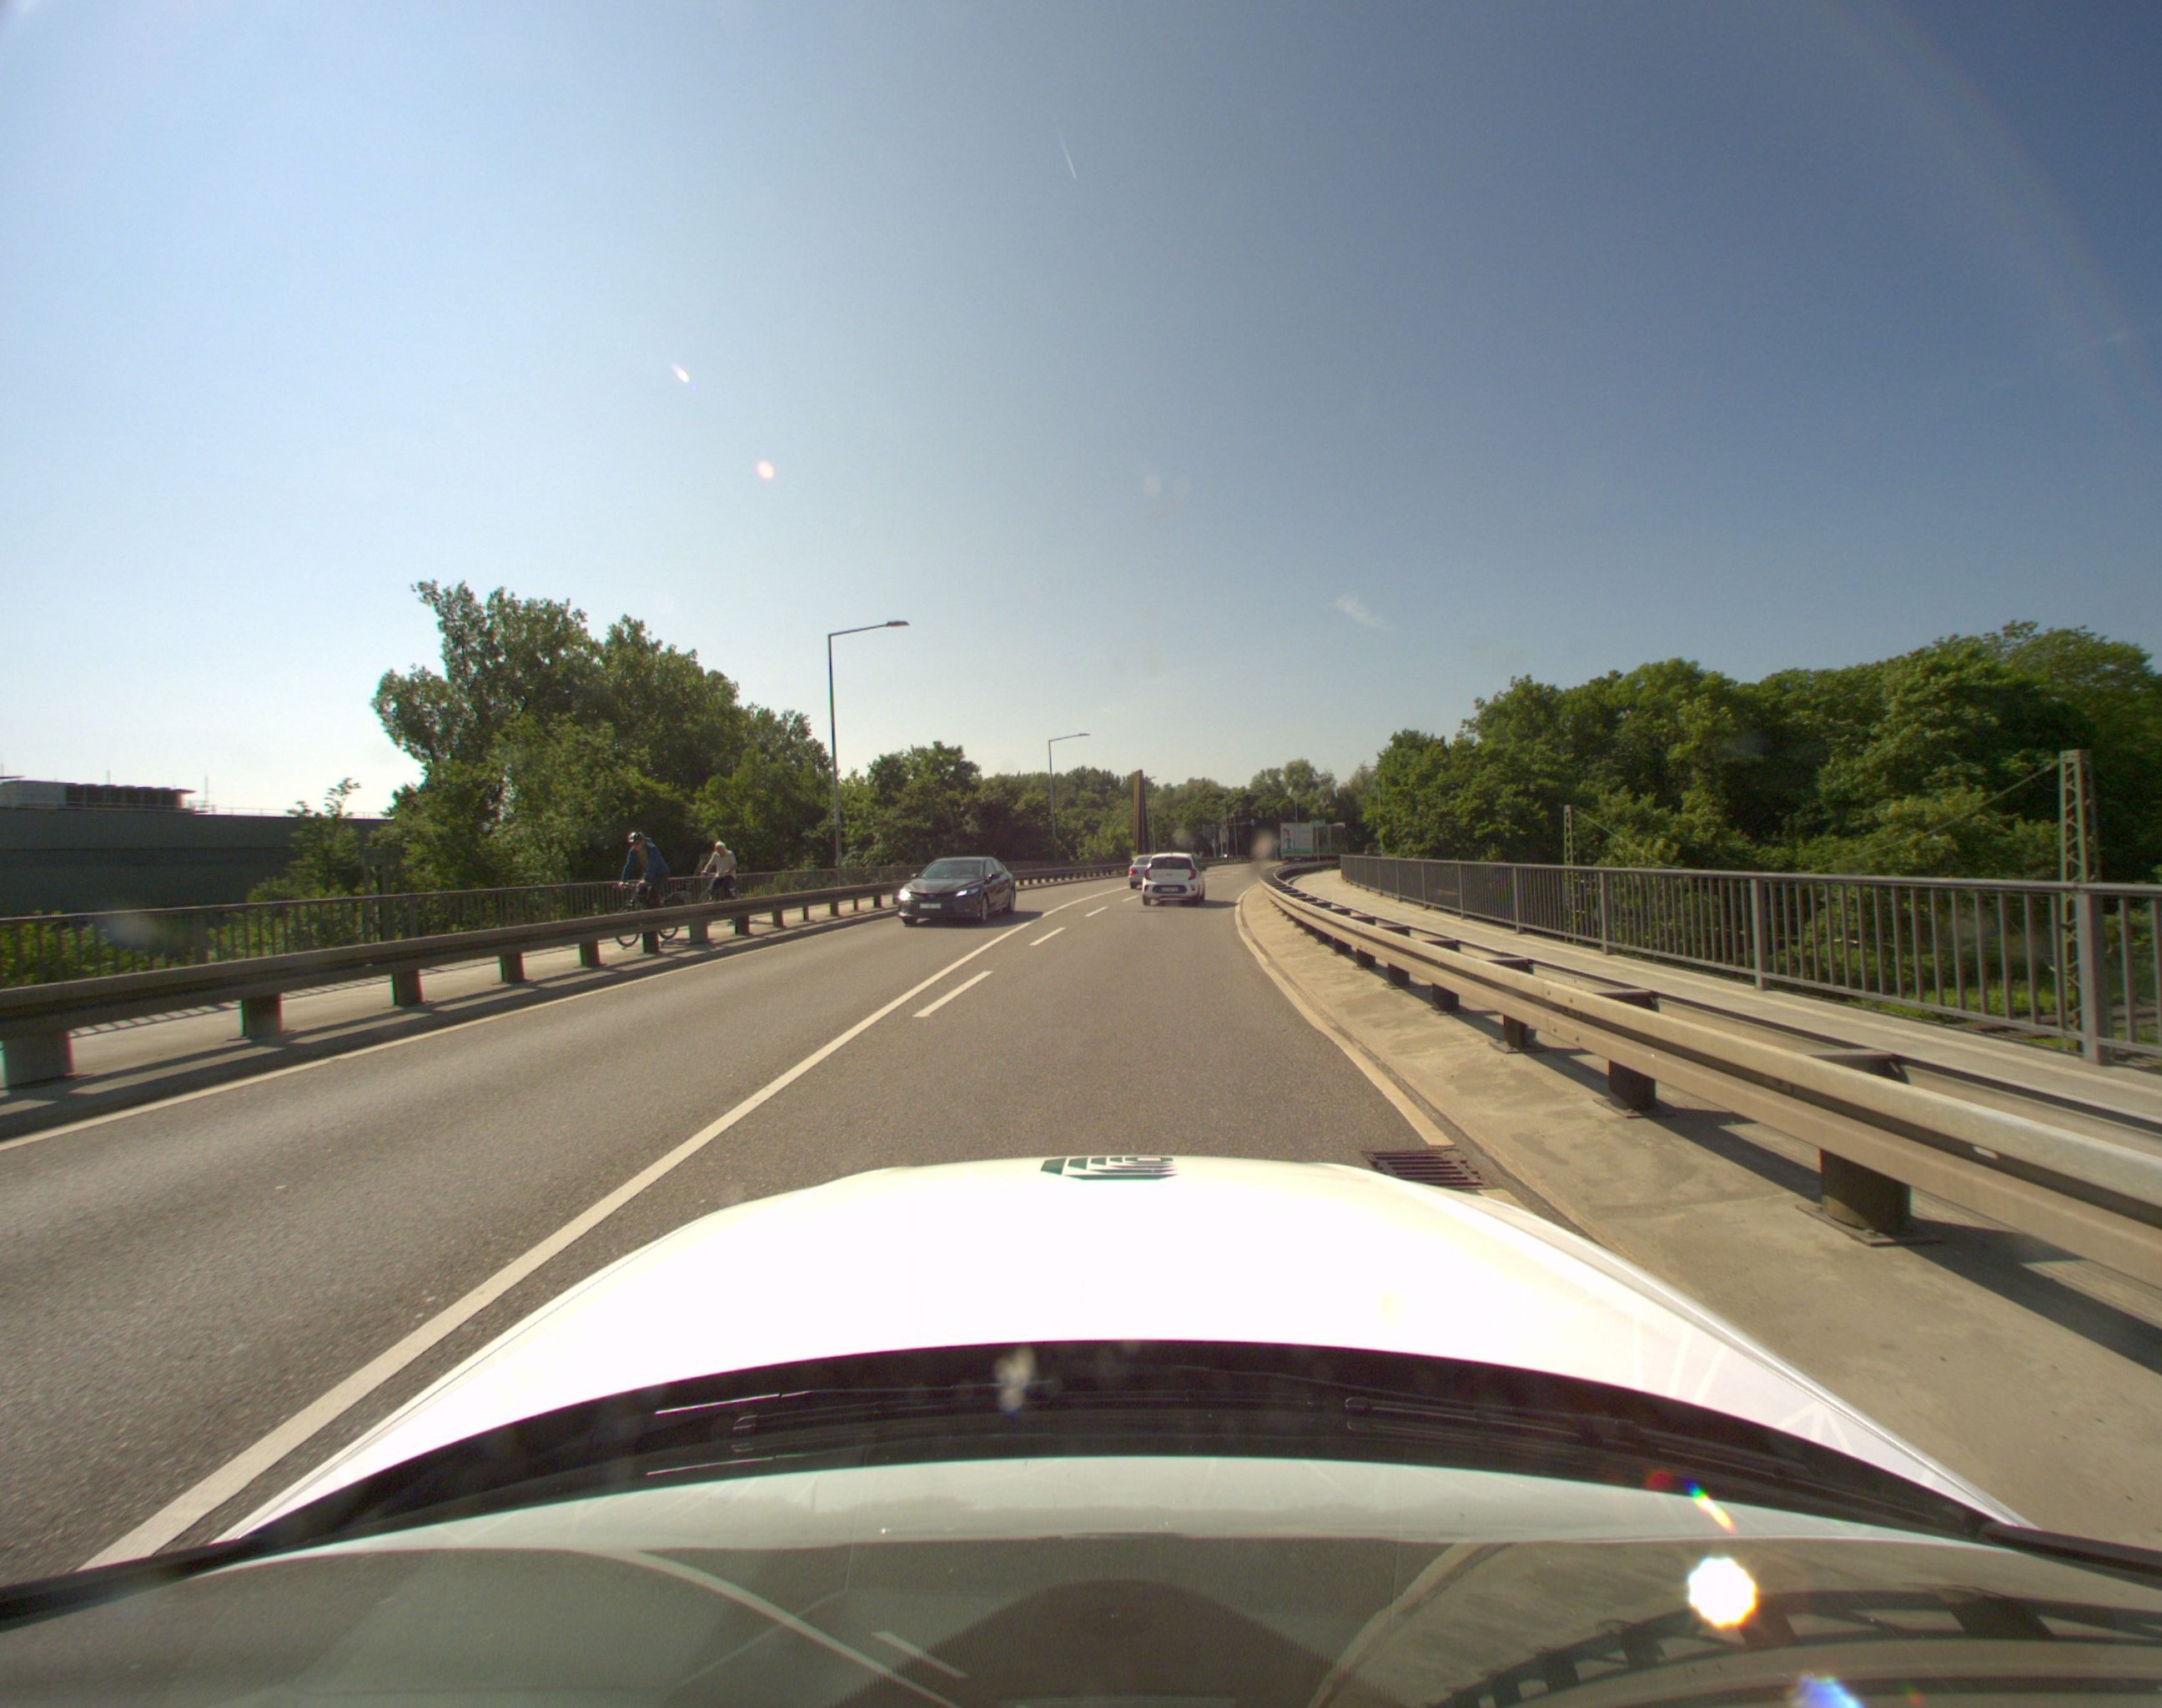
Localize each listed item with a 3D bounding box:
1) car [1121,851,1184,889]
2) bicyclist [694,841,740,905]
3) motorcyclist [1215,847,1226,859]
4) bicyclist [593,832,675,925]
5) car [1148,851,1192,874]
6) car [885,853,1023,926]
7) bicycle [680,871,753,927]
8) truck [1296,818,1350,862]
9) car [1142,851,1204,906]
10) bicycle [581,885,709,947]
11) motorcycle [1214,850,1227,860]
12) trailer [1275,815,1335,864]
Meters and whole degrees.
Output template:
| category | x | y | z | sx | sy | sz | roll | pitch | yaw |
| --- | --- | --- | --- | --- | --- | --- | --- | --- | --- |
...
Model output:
| category | x | y | z | sx | sy | sz | roll | pitch | yaw |
| --- | --- | --- | --- | --- | --- | --- | --- | --- | --- |
| car | 3.111 | 0.639 | 34.610 | 1.925 | 1.486 | 4.918 | 0 | 0 | 13 |
| bicyclist | -7.760 | 0.401 | 17.382 | 0.486 | 1.329 | 0.948 | 0 | -1 | 5 |
| motorcyclist | 21.191 | -0.141 | 123.635 | 0.896 | 1.870 | 1.447 | 1 | -2 | -38 |
| bicyclist | -7.433 | 0.385 | 13.584 | 0.656 | 1.496 | 1.019 | -1 | 0 | 12 |
| car | 5.938 | 0.552 | 53.966 | 1.840 | 1.442 | 4.538 | 0 | 1 | 20 |
| car | -2.800 | 0.735 | 19.201 | 1.808 | 1.430 | 4.876 | -2 | 0 | 8 |
| bicycle | -7.758 | 0.936 | 17.419 | 0.571 | 1.046 | 1.713 | -3 | 1 | 6 |
| truck | 22.074 | -1.249 | 73.890 | 3.230 | 3.758 | 8.420 | 1 | 1 | 27 |
| car | 2.819 | 0.682 | 24.502 | 1.692 | 1.494 | 4.009 | 0 | 0 | 8 |
| bicycle | -7.367 | 1.026 | 13.901 | 0.923 | 0.891 | 1.971 | -1 | 1 | 7 |
| motorcycle | 21.185 | 0.200 | 123.621 | 0.903 | 1.529 | 1.960 | 1 | -2 | -38 |
| trailer | 18.398 | -1.200 | 66.592 | 3.194 | 3.758 | 7.871 | 1 | 1 | 27 |
